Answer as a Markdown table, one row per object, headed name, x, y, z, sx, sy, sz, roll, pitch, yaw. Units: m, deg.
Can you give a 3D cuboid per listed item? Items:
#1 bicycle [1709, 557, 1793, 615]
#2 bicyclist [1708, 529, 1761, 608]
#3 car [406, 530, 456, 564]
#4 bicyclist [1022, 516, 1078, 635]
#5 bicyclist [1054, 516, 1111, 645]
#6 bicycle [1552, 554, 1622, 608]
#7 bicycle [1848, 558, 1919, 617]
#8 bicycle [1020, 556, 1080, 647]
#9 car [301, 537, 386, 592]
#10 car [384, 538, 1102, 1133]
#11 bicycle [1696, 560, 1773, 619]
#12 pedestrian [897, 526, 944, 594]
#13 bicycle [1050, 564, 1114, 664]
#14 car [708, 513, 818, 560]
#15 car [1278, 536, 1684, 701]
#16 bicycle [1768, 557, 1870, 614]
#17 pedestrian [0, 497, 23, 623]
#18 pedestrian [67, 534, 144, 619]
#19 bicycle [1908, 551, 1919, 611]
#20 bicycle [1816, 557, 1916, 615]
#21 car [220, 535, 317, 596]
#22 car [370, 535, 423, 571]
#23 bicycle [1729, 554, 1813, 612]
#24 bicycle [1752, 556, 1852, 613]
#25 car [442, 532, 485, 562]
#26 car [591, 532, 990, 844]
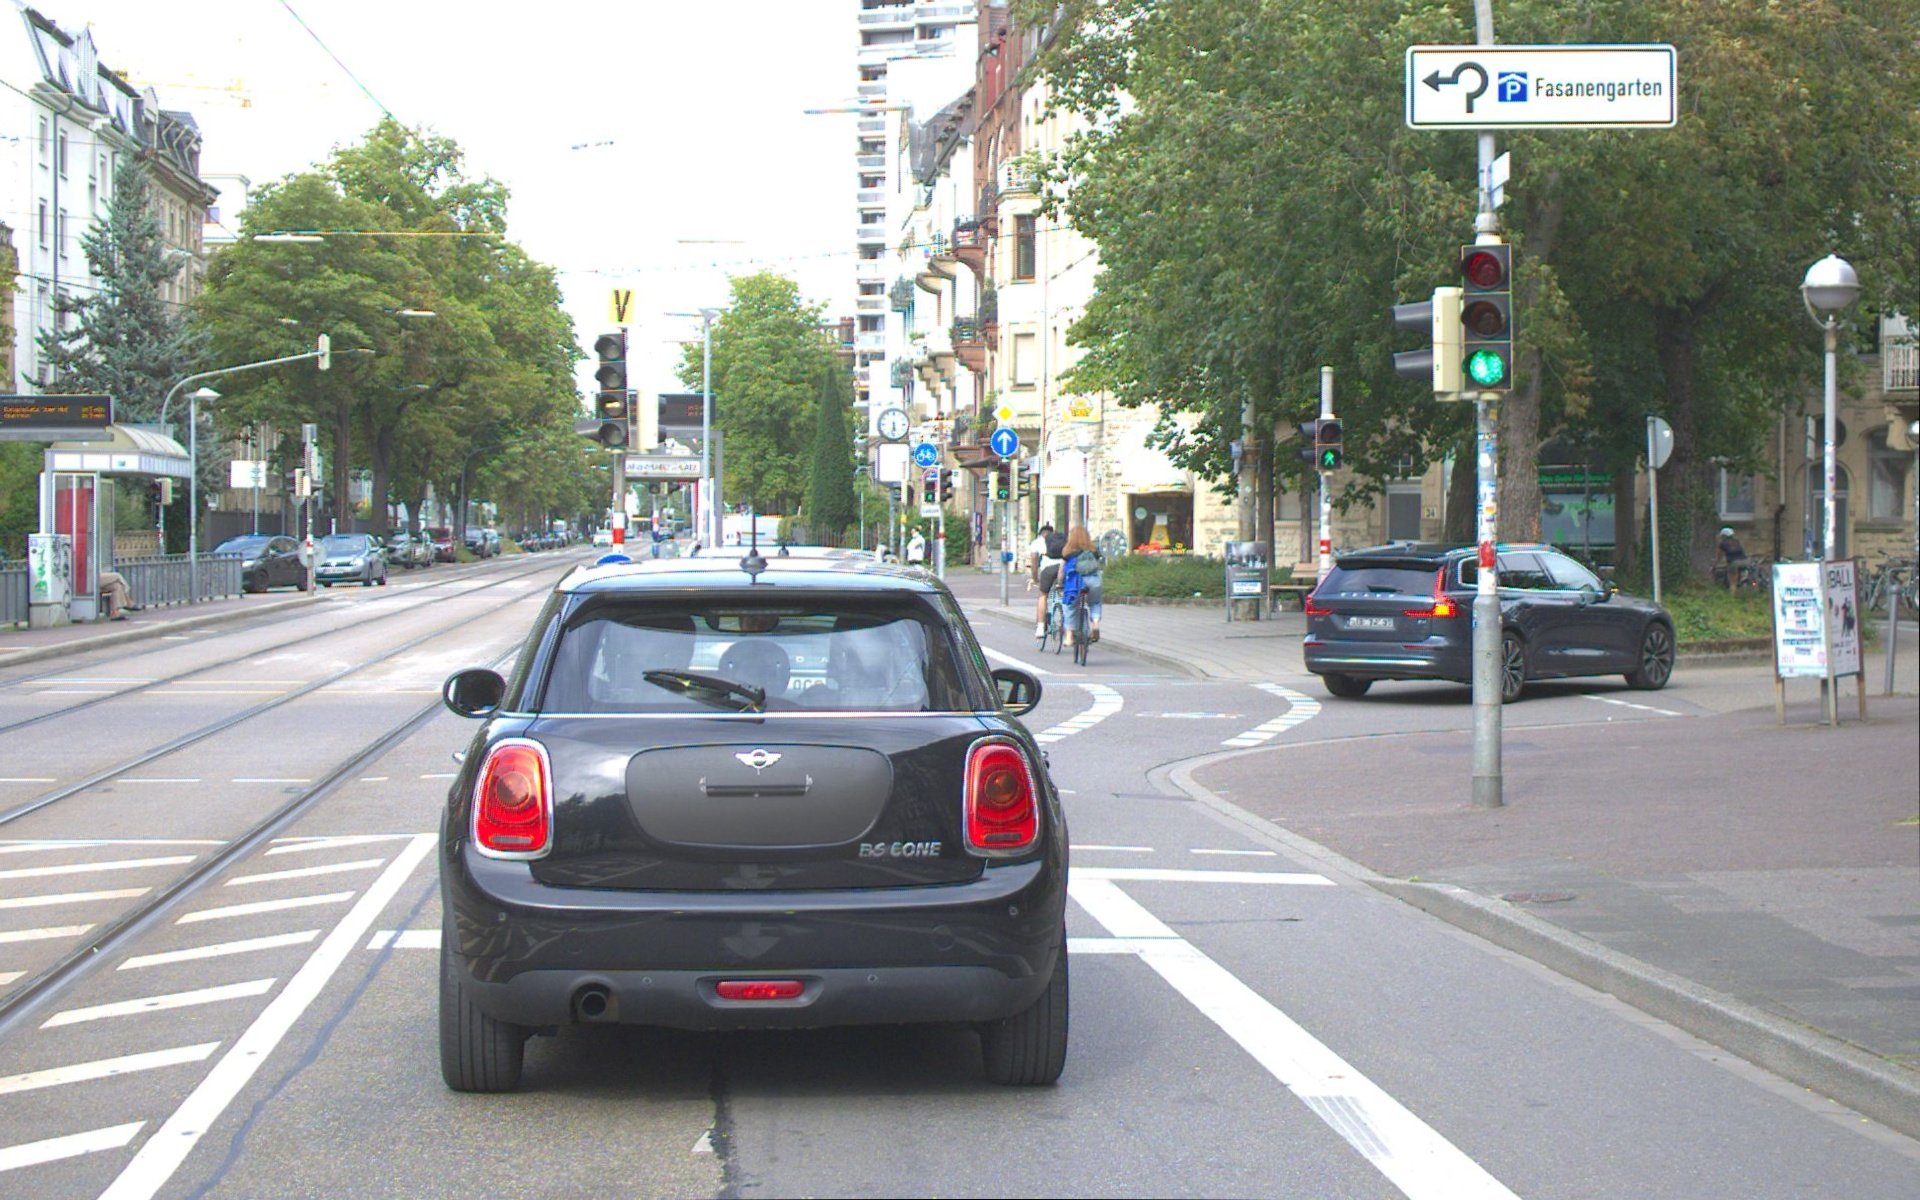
| name | x | y | z | sx | sy | sz | roll | pitch | yaw |
| --- | --- | --- | --- | --- | --- | --- | --- | --- | --- |
| bicycle | 16.154 | -0.292 | 70.173 | 1.888 | 1.124 | 0.533 | -2 | 2 | -35 |
| bicyclist | 14.616 | -0.602 | 64.882 | 0.614 | 1.467 | 0.915 | 0 | 1 | -16 |
| car | -24.780 | -2.504 | 161.102 | 1.993 | 1.546 | 4.001 | 0 | 1 | -4 |
| bicyclist | 1.184 | -0.334 | 45.423 | 0.684 | 1.558 | 0.998 | 0 | 1 | -2 |
| bicyclist | 1.485 | -0.249 | 41.764 | 0.594 | 1.545 | 1.014 | 0 | 1 | -4 |
| bicycle | 13.359 | -0.421 | 73.209 | 0.667 | 1.124 | 1.889 | 1 | 1 | 38 |
| bicycle | 18.158 | -0.254 | 66.631 | 1.887 | 1.124 | 0.595 | 0 | 1 | -27 |
| bicycle | 1.182 | 0.012 | 45.408 | 0.684 | 1.166 | 1.697 | 0 | 1 | -2 |
| car | -16.985 | -1.002 | 94.816 | 1.751 | 1.436 | 4.001 | 2 | 1 | -3 |
| car | -0.675 | 0.560 | 10.622 | 1.751 | 1.436 | 4.001 | 2 | 1 | -4 |
| bicycle | 14.610 | -0.210 | 64.896 | 0.614 | 1.073 | 1.821 | 0 | 1 | -16 |
| pedestrian | -1.008 | -1.027 | 87.746 | 0.732 | 1.668 | 0.833 | -2 | 2 | 42 |
| bicycle | 1.479 | 0.158 | 41.775 | 0.598 | 1.166 | 1.697 | 0 | 1 | -4 |
| car | -9.603 | -3.093 | 167.673 | 5.026 | 2.265 | 2.395 | -1 | 1 | -44 |
| car | 4.958 | 0.121 | 32.268 | 1.756 | 1.436 | 4.469 | 1 | 1 | 39 |
| bicycle | 17.095 | -0.298 | 68.447 | 1.887 | 1.124 | 0.599 | 0 | 1 | -12 |
| pedestrian | -12.607 | -0.516 | 44.488 | 0.851 | 1.615 | 0.843 | 0 | 1 | -9 |
| pedestrian | -13.033 | -0.361 | 52.457 | 1.058 | 1.289 | 0.986 | 0 | 1 | -9 |
| bicycle | 18.912 | -0.356 | 64.934 | 1.887 | 1.124 | 0.533 | 0 | 1 | -8 |
| bicycle | 17.771 | -0.273 | 67.426 | 1.887 | 1.124 | 0.583 | 0 | 1 | -21 |
| car | -17.198 | -0.880 | 85.652 | 1.751 | 1.436 | 4.001 | 2 | 1 | -3 |
| car | -22.019 | -1.861 | 134.507 | 1.766 | 1.390 | 4.001 | 0 | 1 | -5 |
| bicycle | 16.447 | -0.346 | 69.704 | 1.888 | 1.124 | 0.533 | -2 | 2 | -35 |
| bicycle | 16.911 | -0.309 | 69.022 | 1.887 | 1.124 | 0.563 | 0 | 1 | -12 |
| car | -26.546 | -2.842 | 184.007 | 1.993 | 1.546 | 4.001 | 0 | 1 | -4 |
| car | -0.947 | 0.387 | 18.629 | 1.926 | 1.504 | 4.001 | 0 | 1 | -4 |
